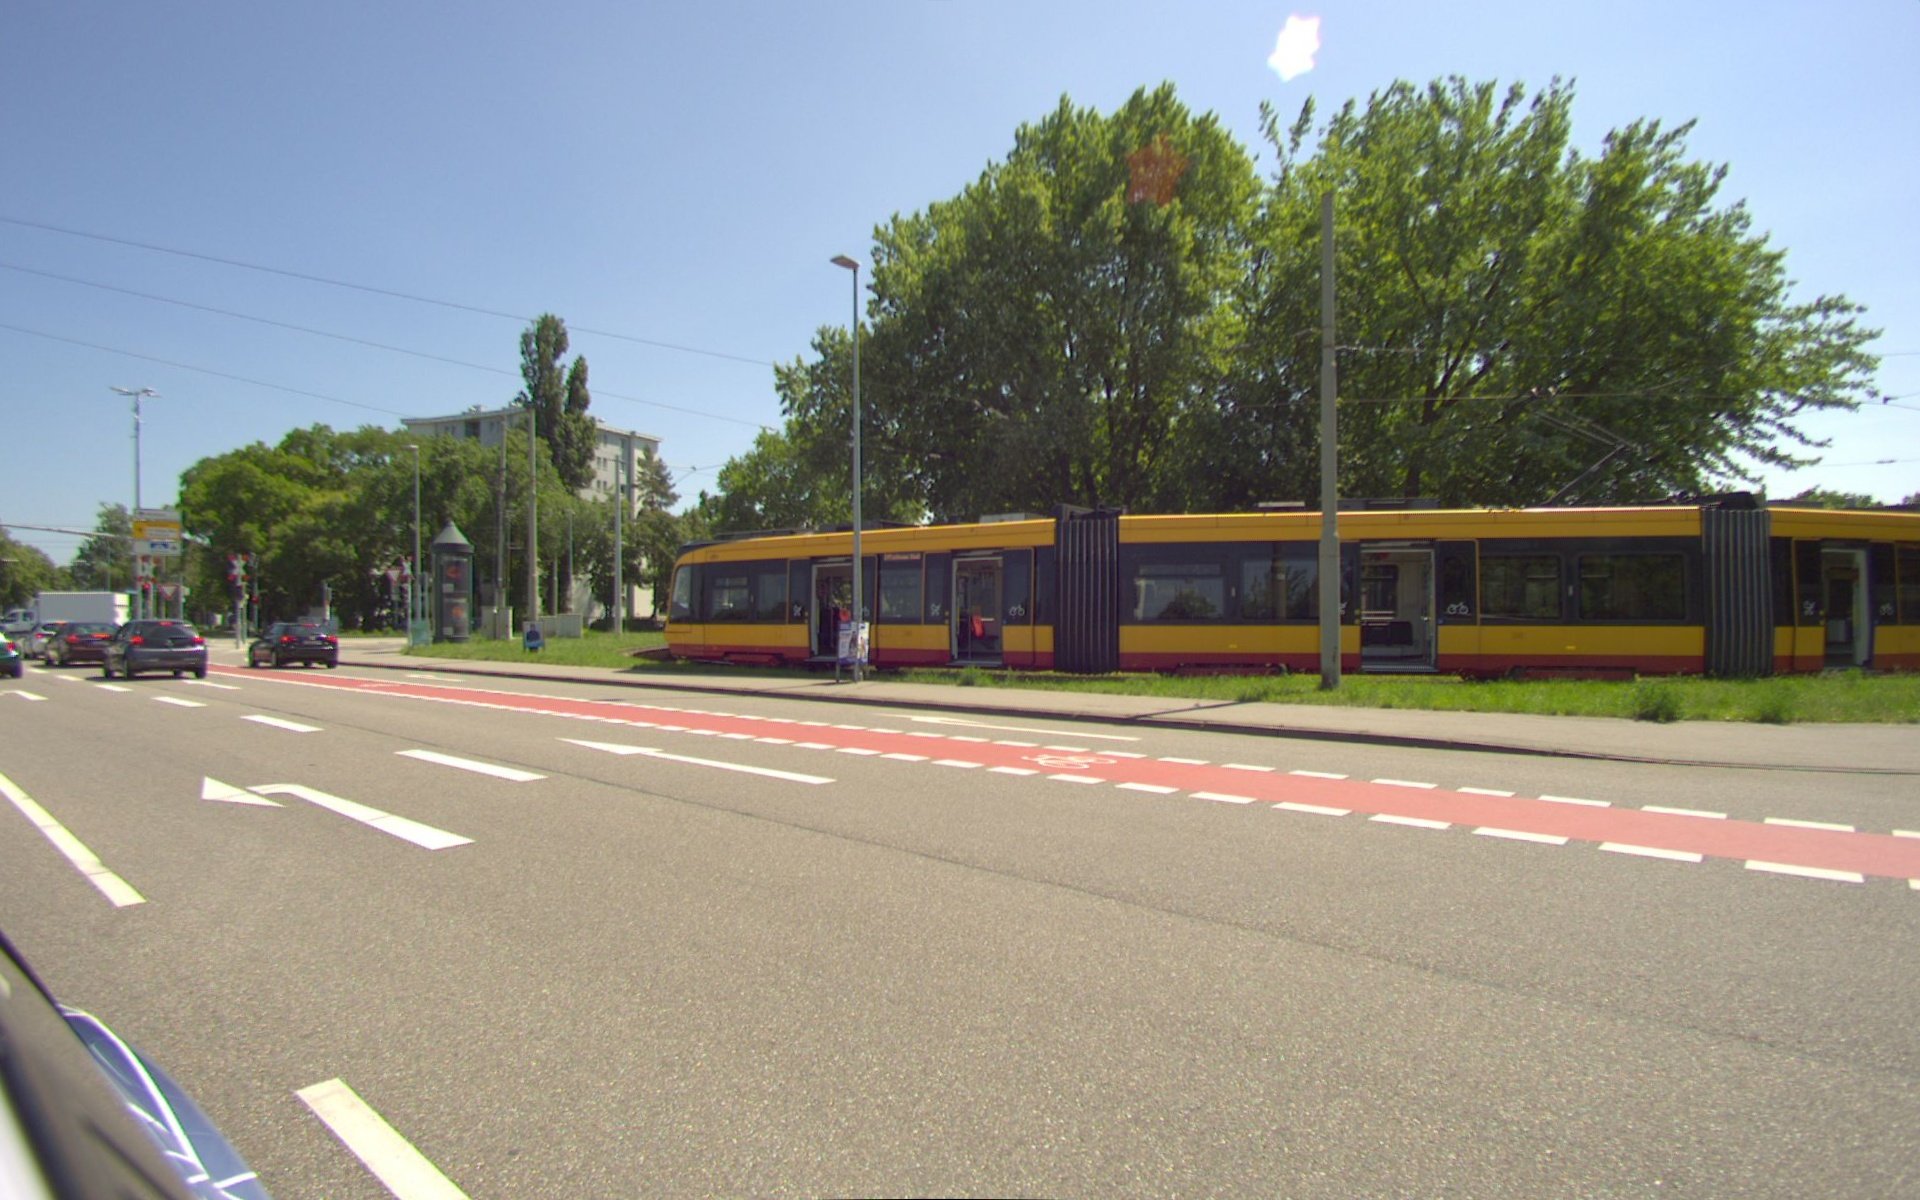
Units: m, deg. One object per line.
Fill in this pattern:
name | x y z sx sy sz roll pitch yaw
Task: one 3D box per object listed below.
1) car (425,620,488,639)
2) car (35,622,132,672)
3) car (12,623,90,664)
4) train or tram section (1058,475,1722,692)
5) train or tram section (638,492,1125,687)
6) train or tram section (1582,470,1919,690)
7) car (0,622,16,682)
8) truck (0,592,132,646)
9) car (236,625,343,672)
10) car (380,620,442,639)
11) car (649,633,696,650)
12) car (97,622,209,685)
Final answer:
car | -36.753 2.154 73.958 3.931 1.296 1.752 0 -3 -20
car | -28.014 1.464 32.308 4.283 1.468 1.742 -1 -1 41
car | -34.631 1.634 38.518 4.412 1.467 1.772 -1 -2 42
train or tram section | 7.795 -0.204 20.111 11.488 3.788 3.017 0 -2 10
train or tram section | -2.526 -0.021 24.691 12.965 3.788 2.989 -2 -3 36
train or tram section | 19.599 -0.220 20.782 13.809 3.788 3.035 1 -2 -16
car | -25.561 1.346 26.020 3.991 1.473 1.703 -2 -1 44
truck | -62.663 1.310 70.230 7.579 3.560 2.596 0 -3 -18
car | -21.470 1.547 32.340 4.439 1.416 1.725 -2 -4 42
car | -41.549 2.255 76.672 3.931 1.296 1.892 0 -3 -20
car | -23.453 3.387 82.576 3.582 1.296 1.610 0 -3 -20
car | -20.220 1.284 25.315 3.500 1.467 1.605 -1 -2 42
